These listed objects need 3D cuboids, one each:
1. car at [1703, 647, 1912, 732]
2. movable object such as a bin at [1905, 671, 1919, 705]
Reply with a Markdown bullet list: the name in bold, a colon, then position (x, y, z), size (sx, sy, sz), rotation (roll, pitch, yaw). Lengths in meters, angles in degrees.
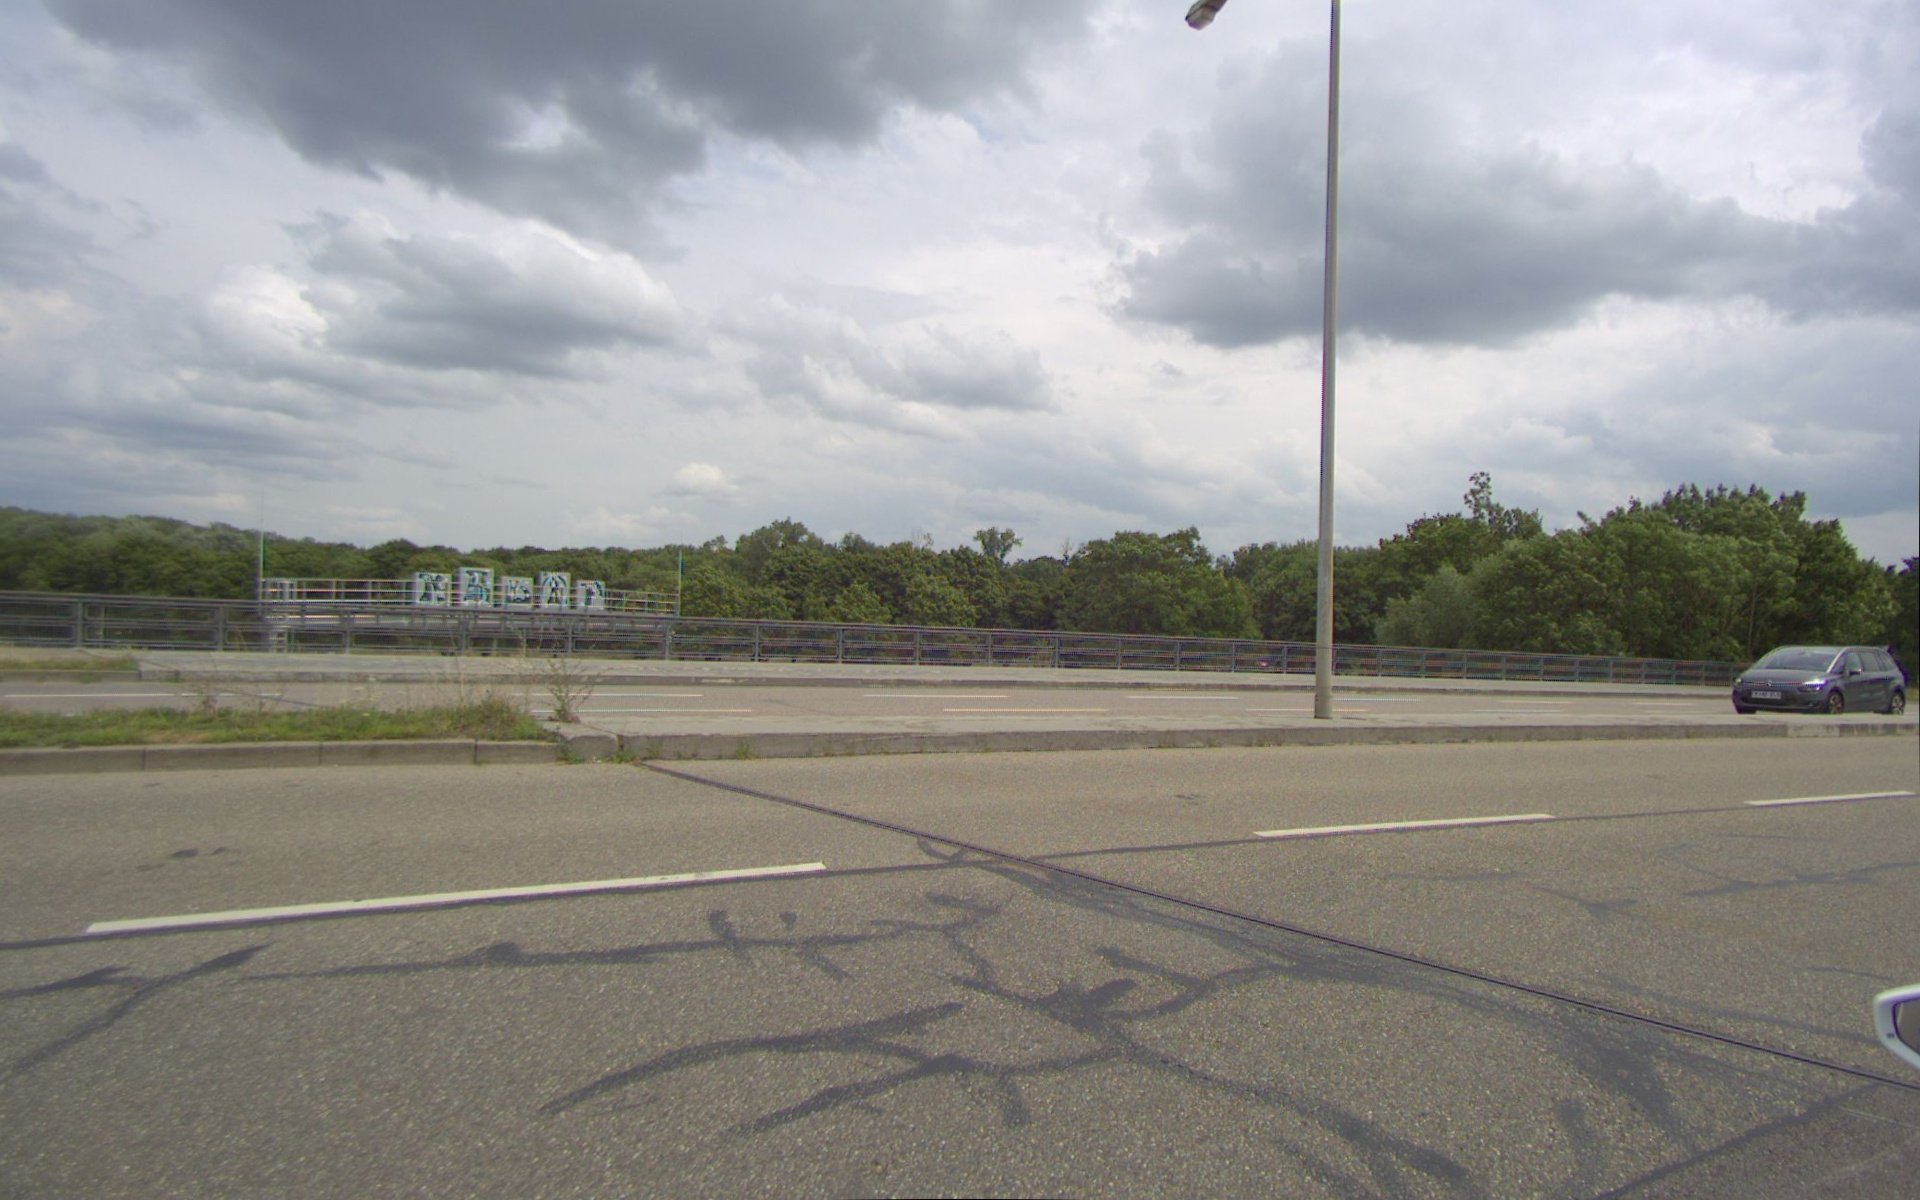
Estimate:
- **car**: position (19.109, 1.994, 22.637), size (4.603, 1.661, 1.986), rotation (3, -1, -27)
- **movable object such as a bin**: position (71.339, 6.446, 72.264), size (1.981, 2.428, 4.545), rotation (3, -1, -36)
